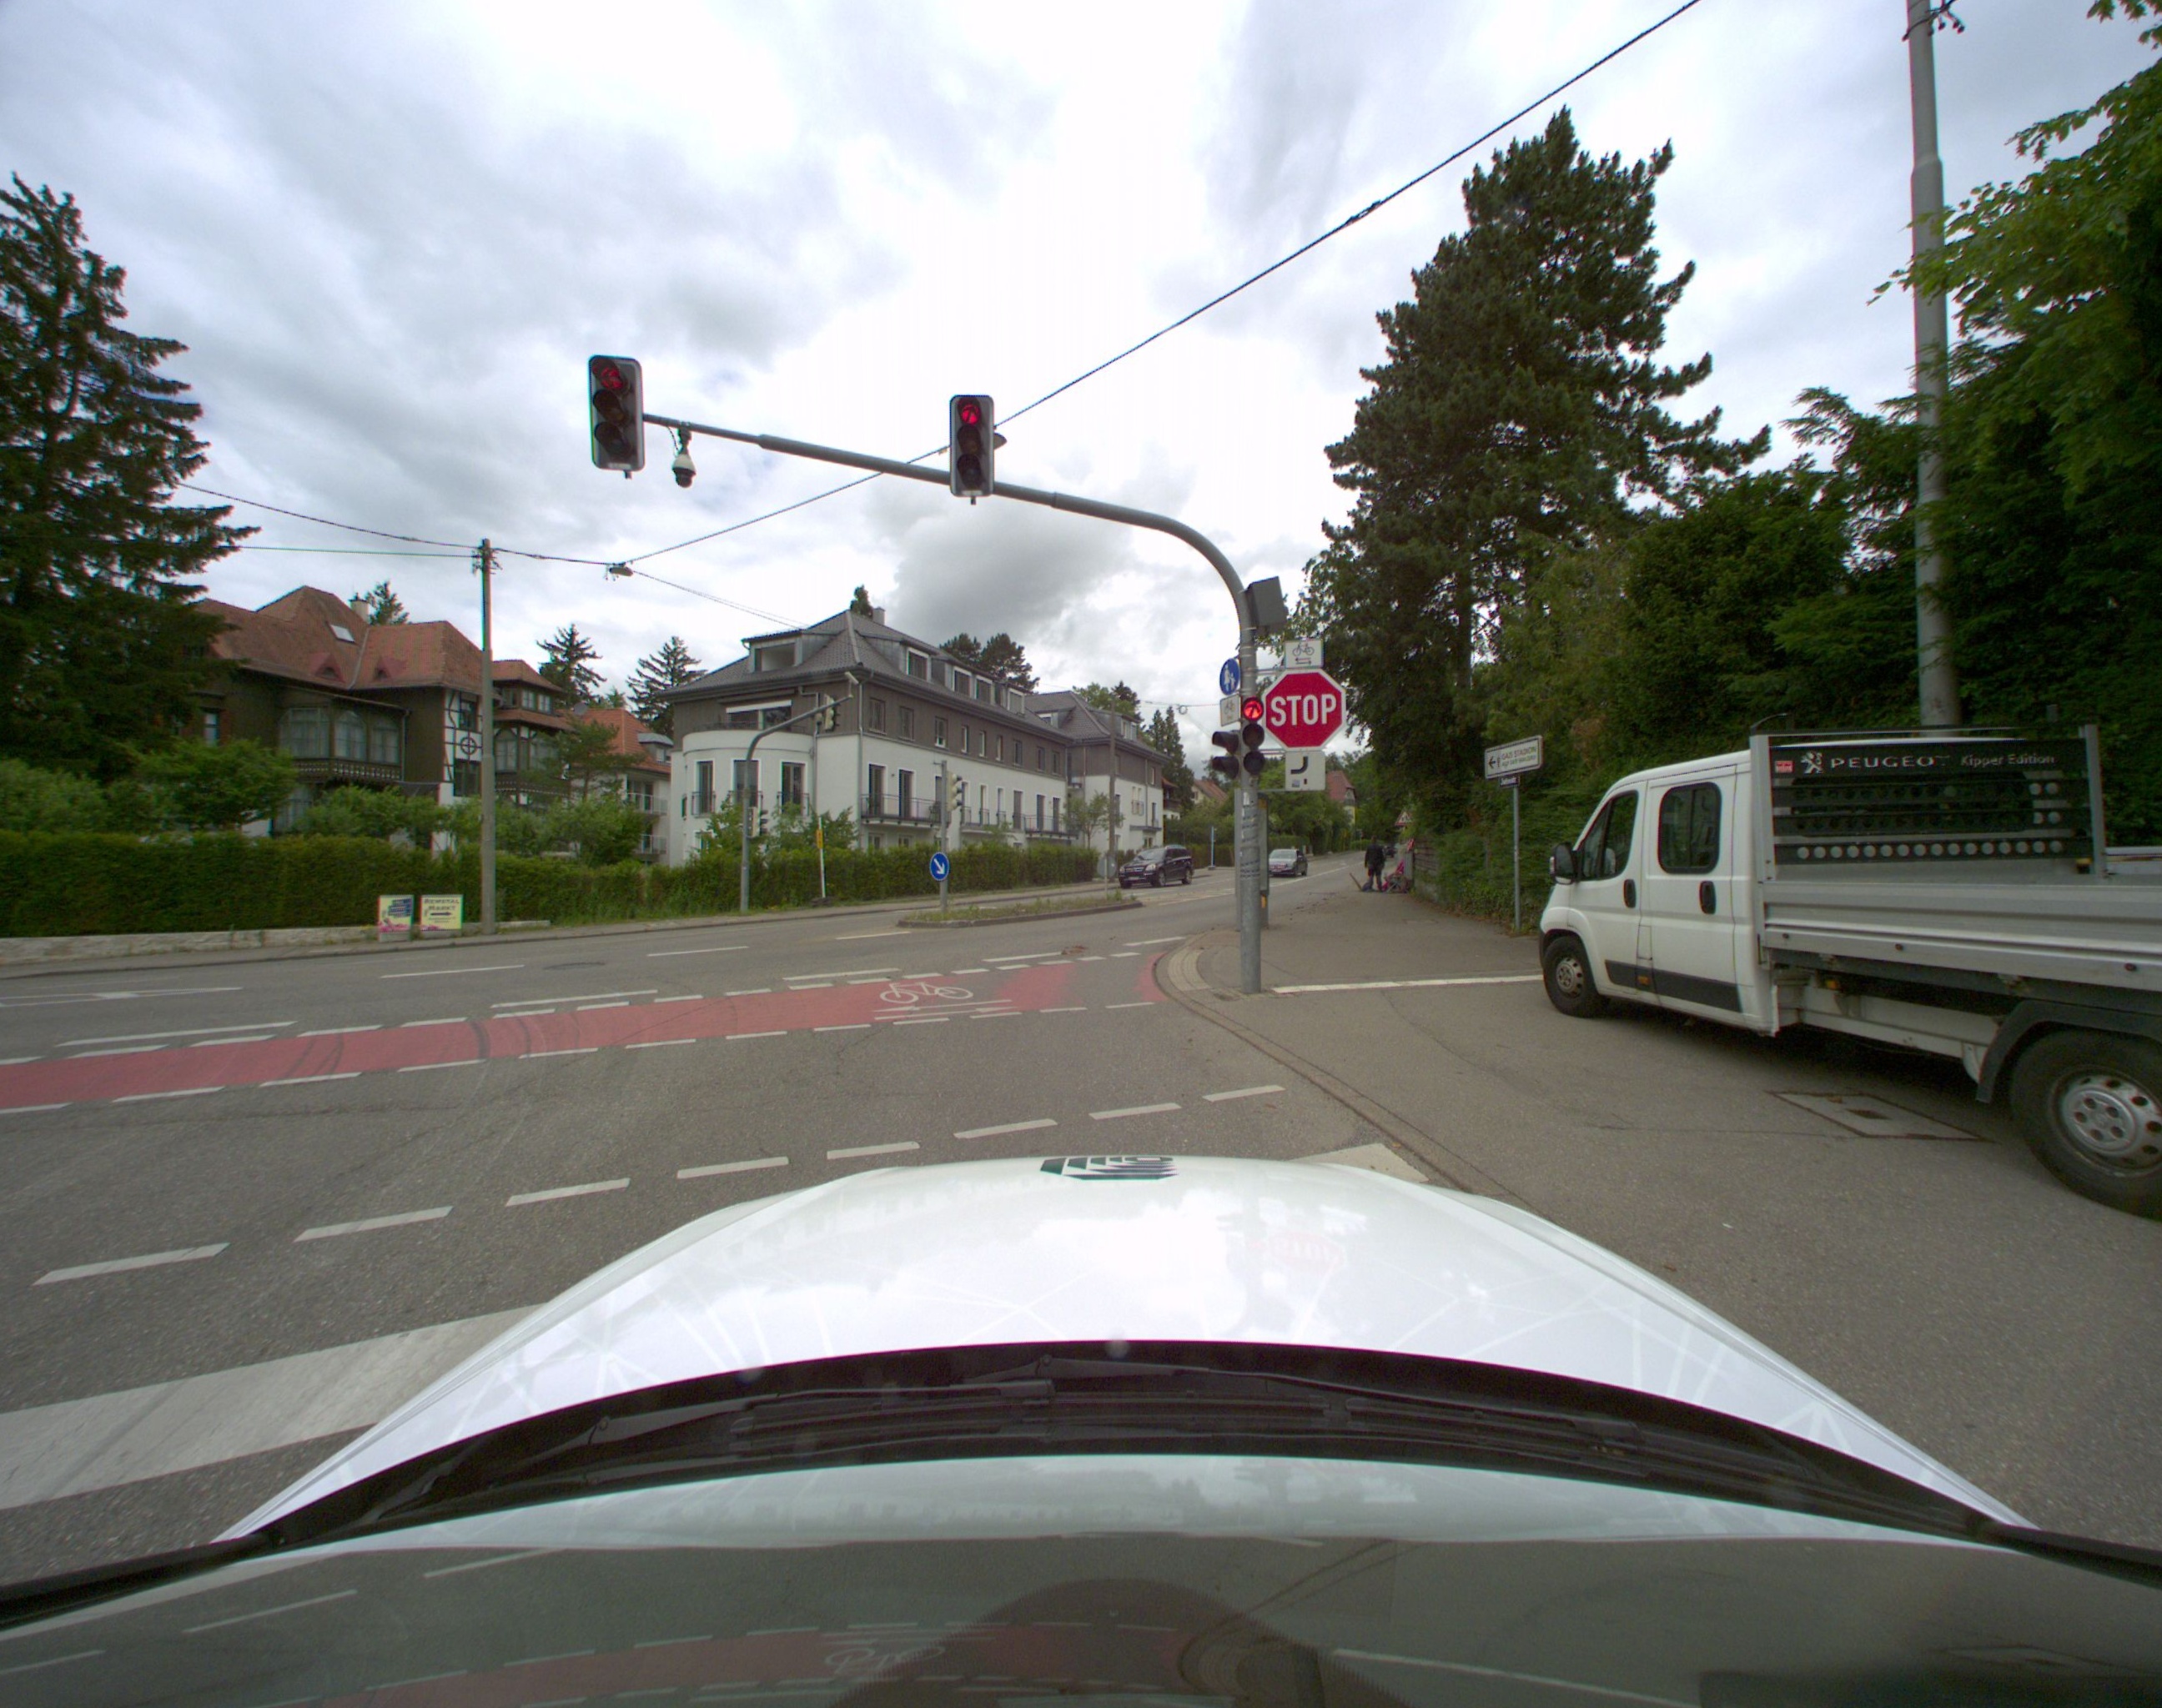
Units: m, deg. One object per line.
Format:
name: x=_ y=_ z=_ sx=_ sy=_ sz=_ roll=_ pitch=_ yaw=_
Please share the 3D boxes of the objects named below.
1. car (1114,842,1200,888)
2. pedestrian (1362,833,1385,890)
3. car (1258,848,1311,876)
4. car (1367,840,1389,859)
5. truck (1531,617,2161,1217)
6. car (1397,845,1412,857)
car: x=3.554 y=0.474 z=37.226 sx=1.894 sy=1.881 sz=5.173 roll=-3 pitch=-1 yaw=30
pedestrian: x=9.818 y=0.247 z=27.332 sx=0.594 sy=1.907 sz=0.559 roll=0 pitch=-1 yaw=2
car: x=11.041 y=0.392 z=44.040 sx=1.921 sy=1.403 sz=4.770 roll=-1 pitch=0 yaw=25
car: x=29.300 y=-0.448 z=80.343 sx=1.791 sy=1.753 sz=4.511 roll=-2 pitch=0 yaw=22
truck: x=5.273 y=0.235 z=4.962 sx=2.198 sy=2.243 sz=5.729 roll=0 pitch=0 yaw=4
car: x=43.743 y=-0.425 z=110.077 sx=1.678 sy=1.430 sz=3.770 roll=-2 pitch=0 yaw=26
